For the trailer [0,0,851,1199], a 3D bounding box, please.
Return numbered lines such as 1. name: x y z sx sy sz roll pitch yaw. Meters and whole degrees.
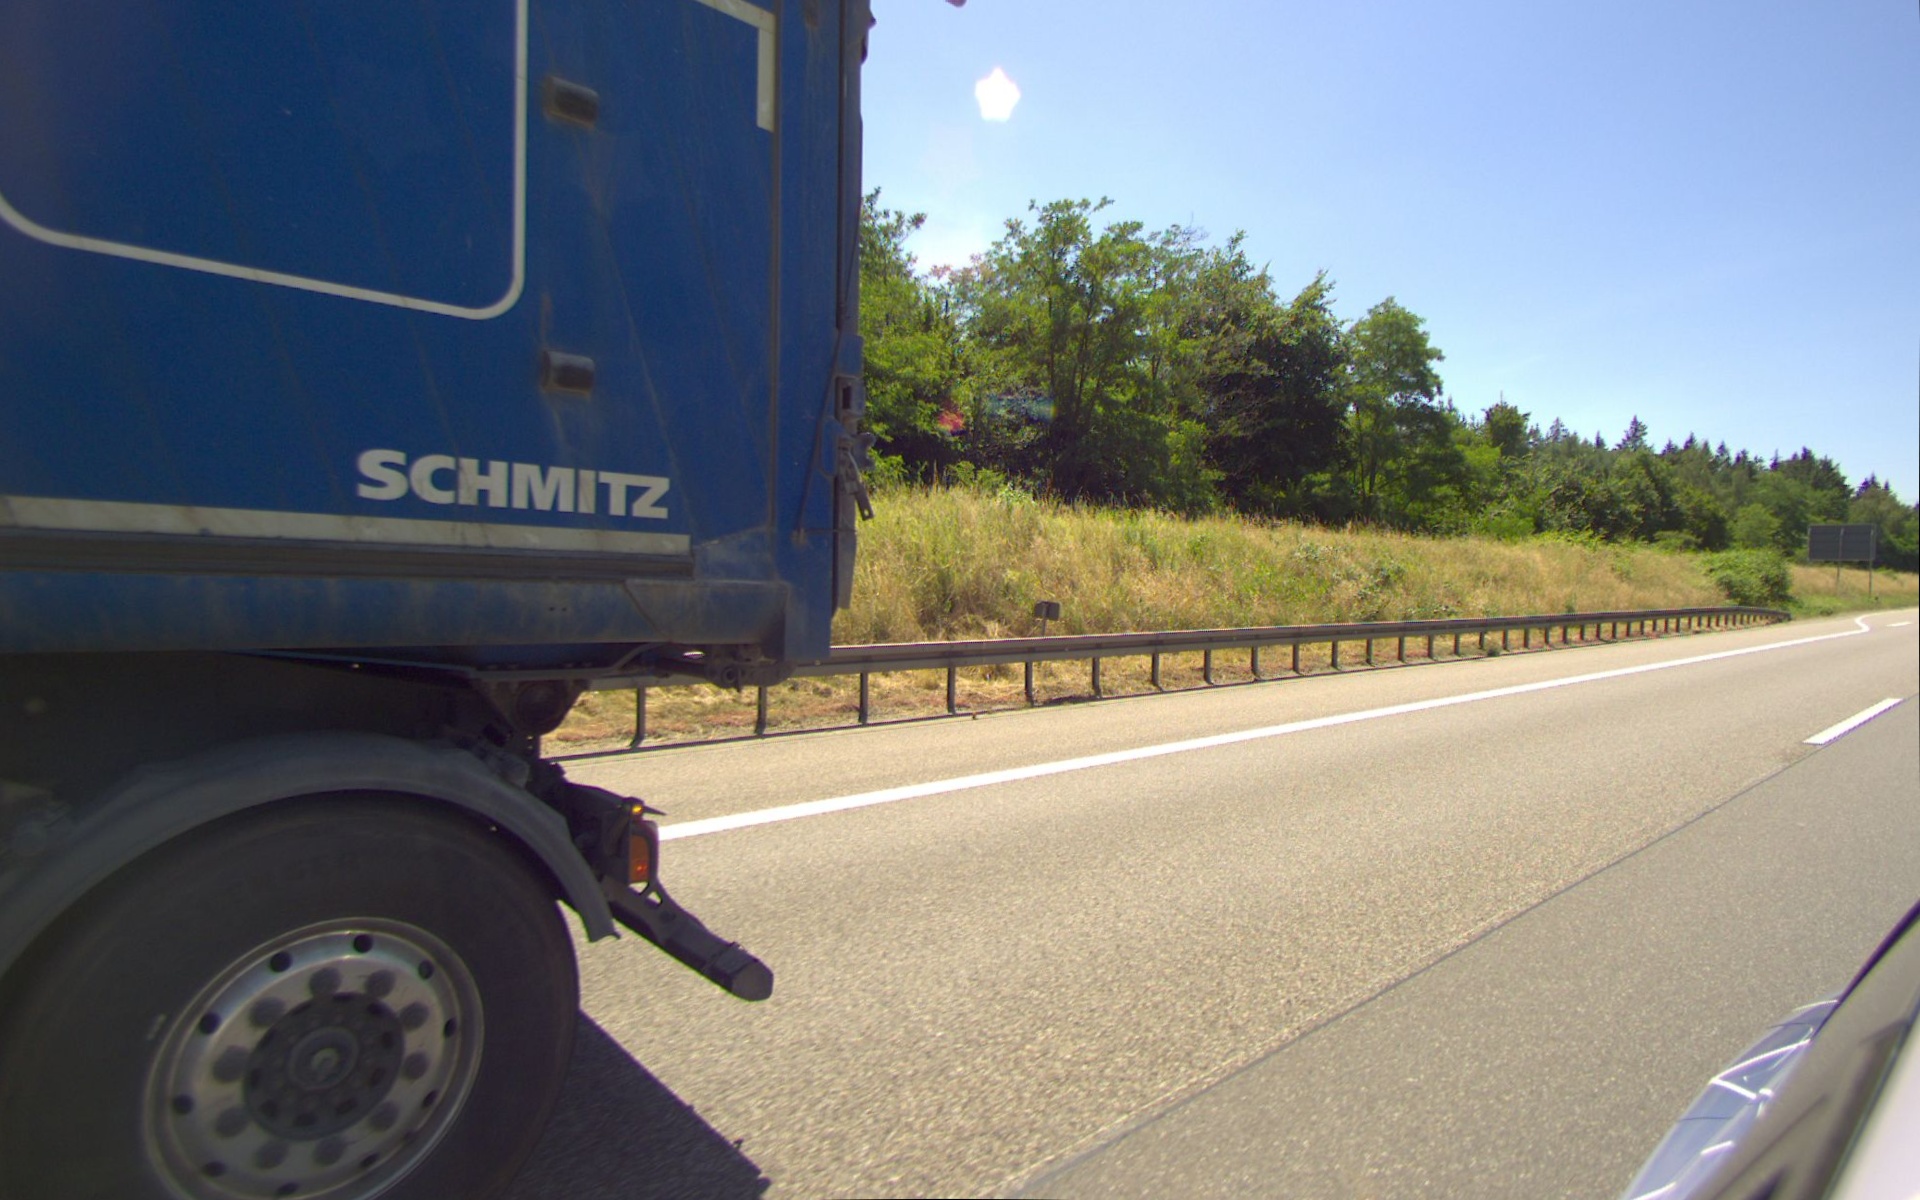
1. trailer: -4.556 -0.625 0.726 8.948 3.806 2.742 0 1 -41
